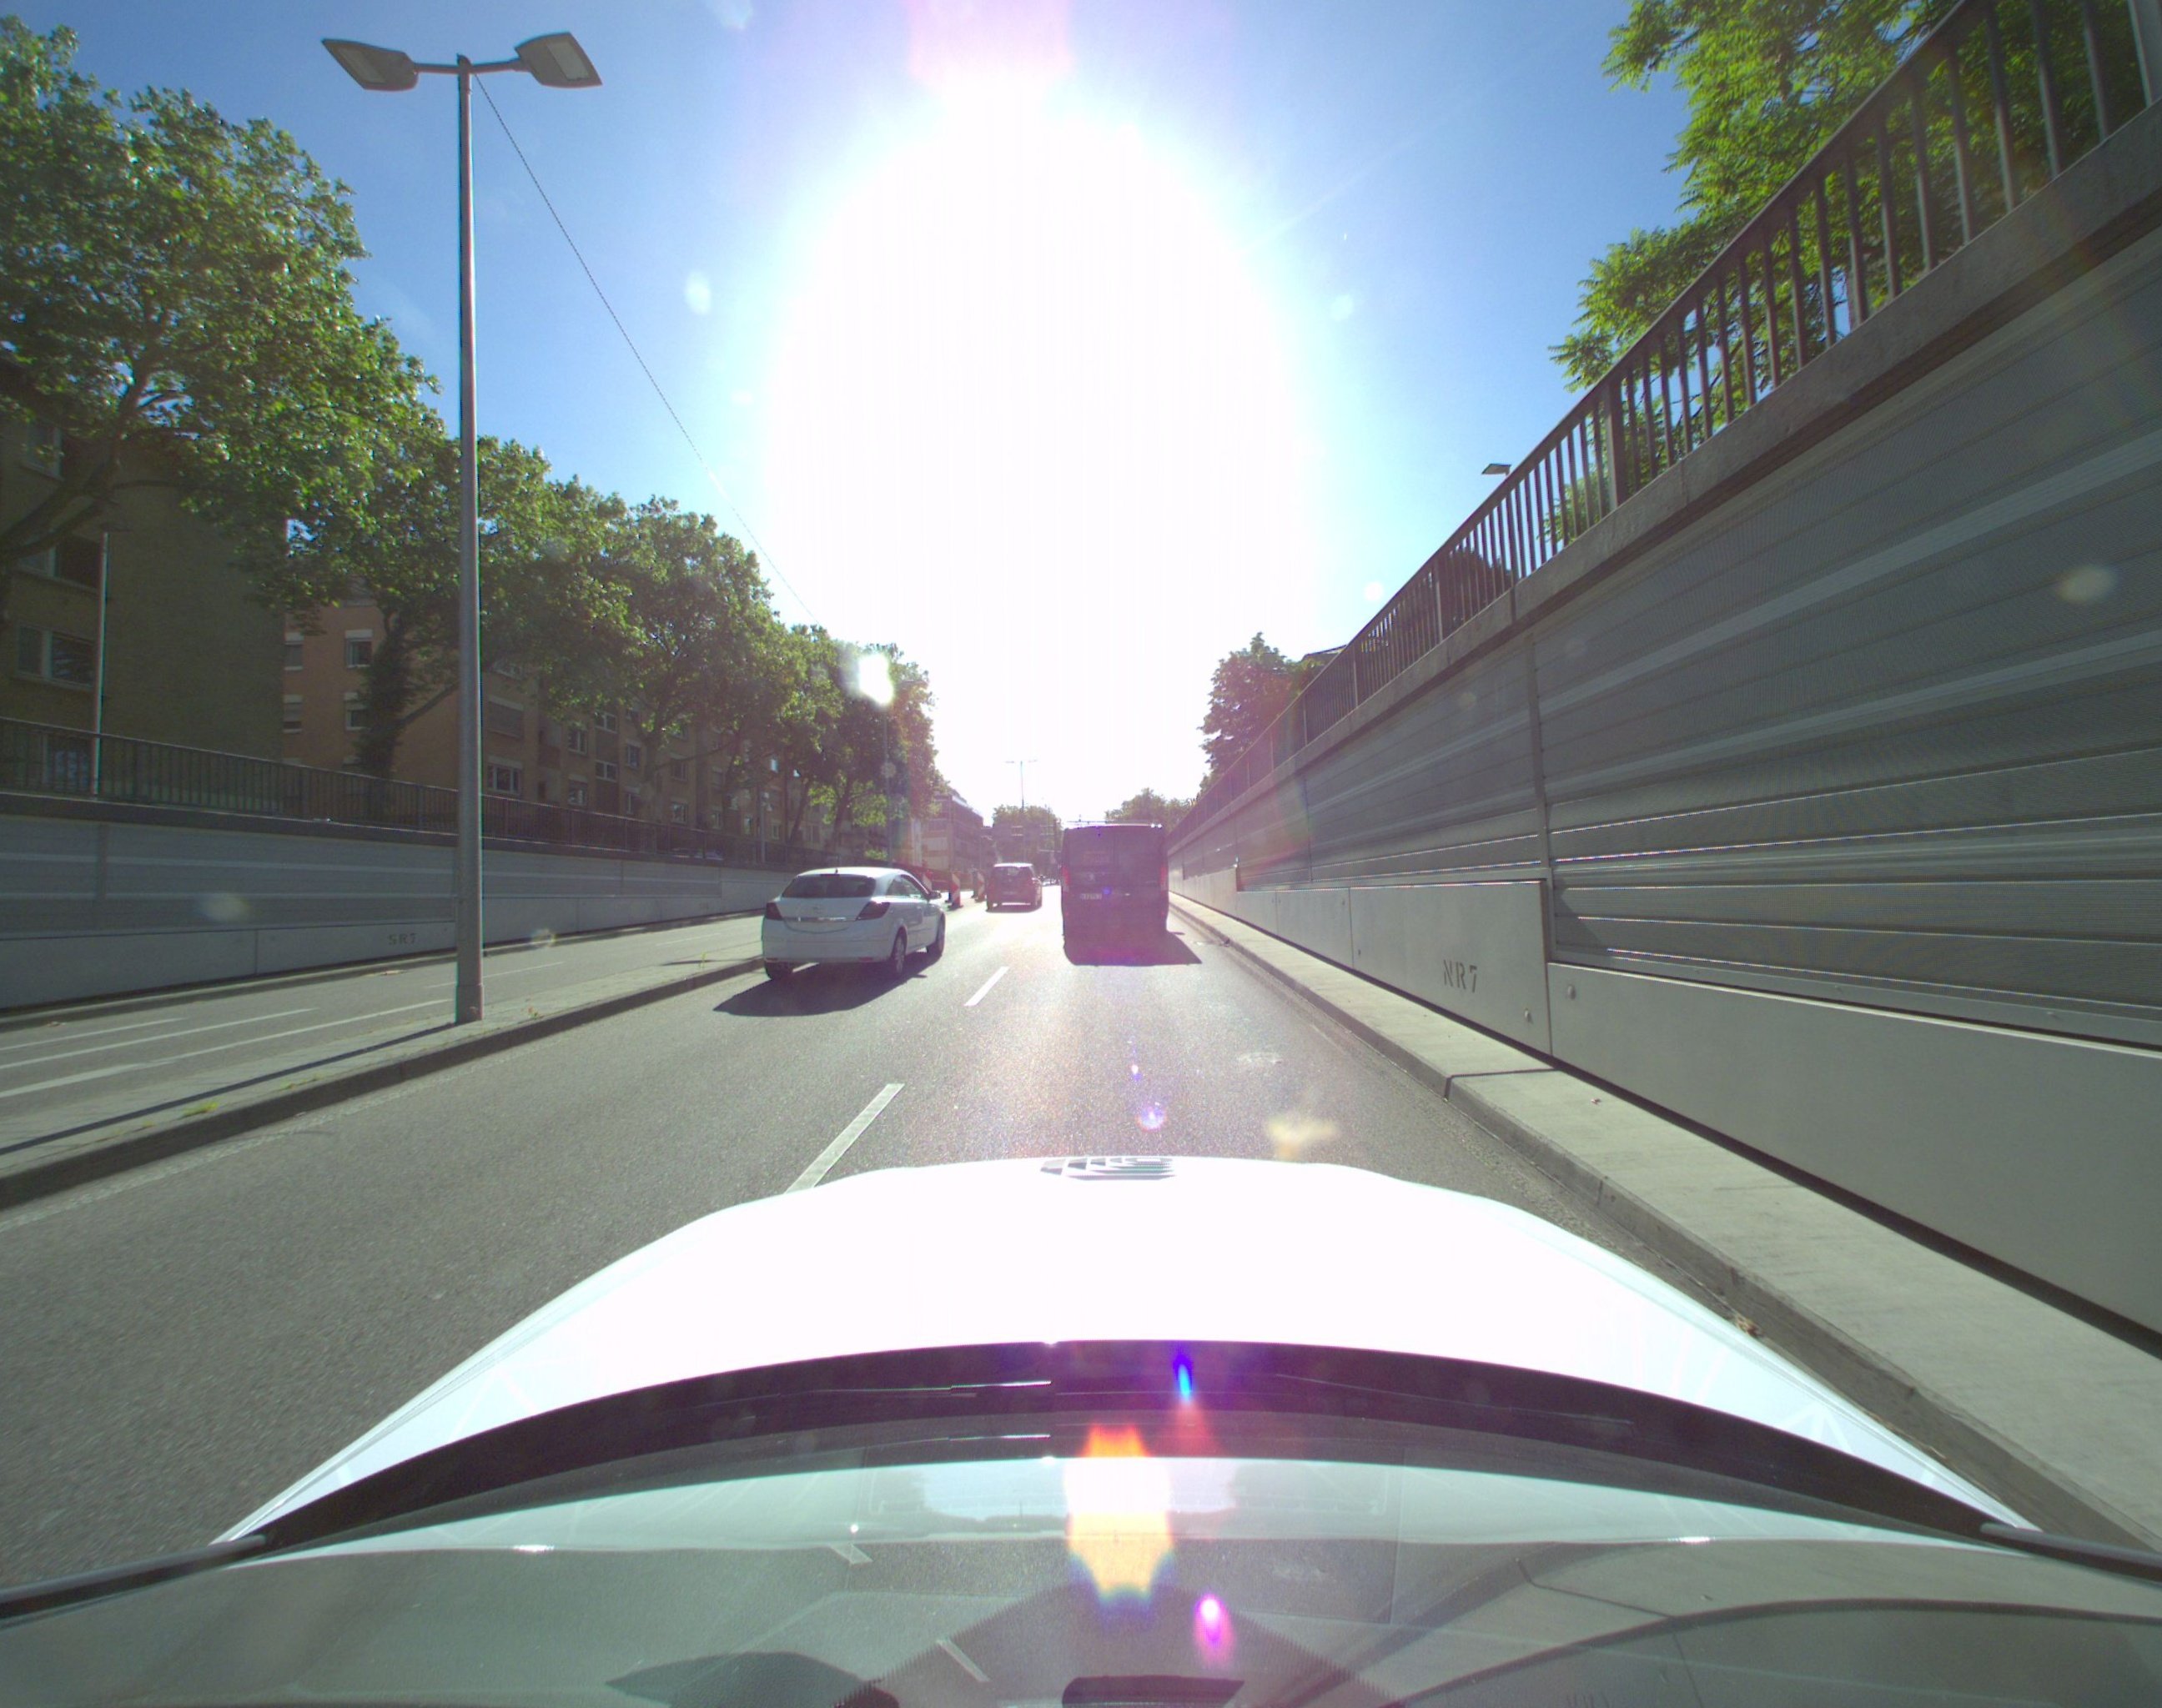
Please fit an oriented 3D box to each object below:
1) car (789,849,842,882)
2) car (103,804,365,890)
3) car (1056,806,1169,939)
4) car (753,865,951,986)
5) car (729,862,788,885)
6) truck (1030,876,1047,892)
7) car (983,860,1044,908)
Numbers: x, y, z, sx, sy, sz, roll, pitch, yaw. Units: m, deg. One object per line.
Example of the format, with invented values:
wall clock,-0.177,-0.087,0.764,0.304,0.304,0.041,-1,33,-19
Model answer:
car,-20.003,0.905,61.526,1.985,2.360,5.422,-1,-2,3
car,-21.433,-0.076,20.950,1.958,1.961,4.415,-1,-2,2
car,0.647,0.373,16.987,2.022,2.402,3.974,-2,-1,2
car,-3.035,0.884,11.610,1.613,1.403,3.853,-1,-1,1
car,-20.416,1.288,51.735,1.986,1.389,4.173,-1,-2,2
truck,-7.248,5.137,138.965,2.220,2.528,6.132,-4,-3,3
car,-2.224,0.979,27.556,1.683,1.484,3.319,-1,-1,1
